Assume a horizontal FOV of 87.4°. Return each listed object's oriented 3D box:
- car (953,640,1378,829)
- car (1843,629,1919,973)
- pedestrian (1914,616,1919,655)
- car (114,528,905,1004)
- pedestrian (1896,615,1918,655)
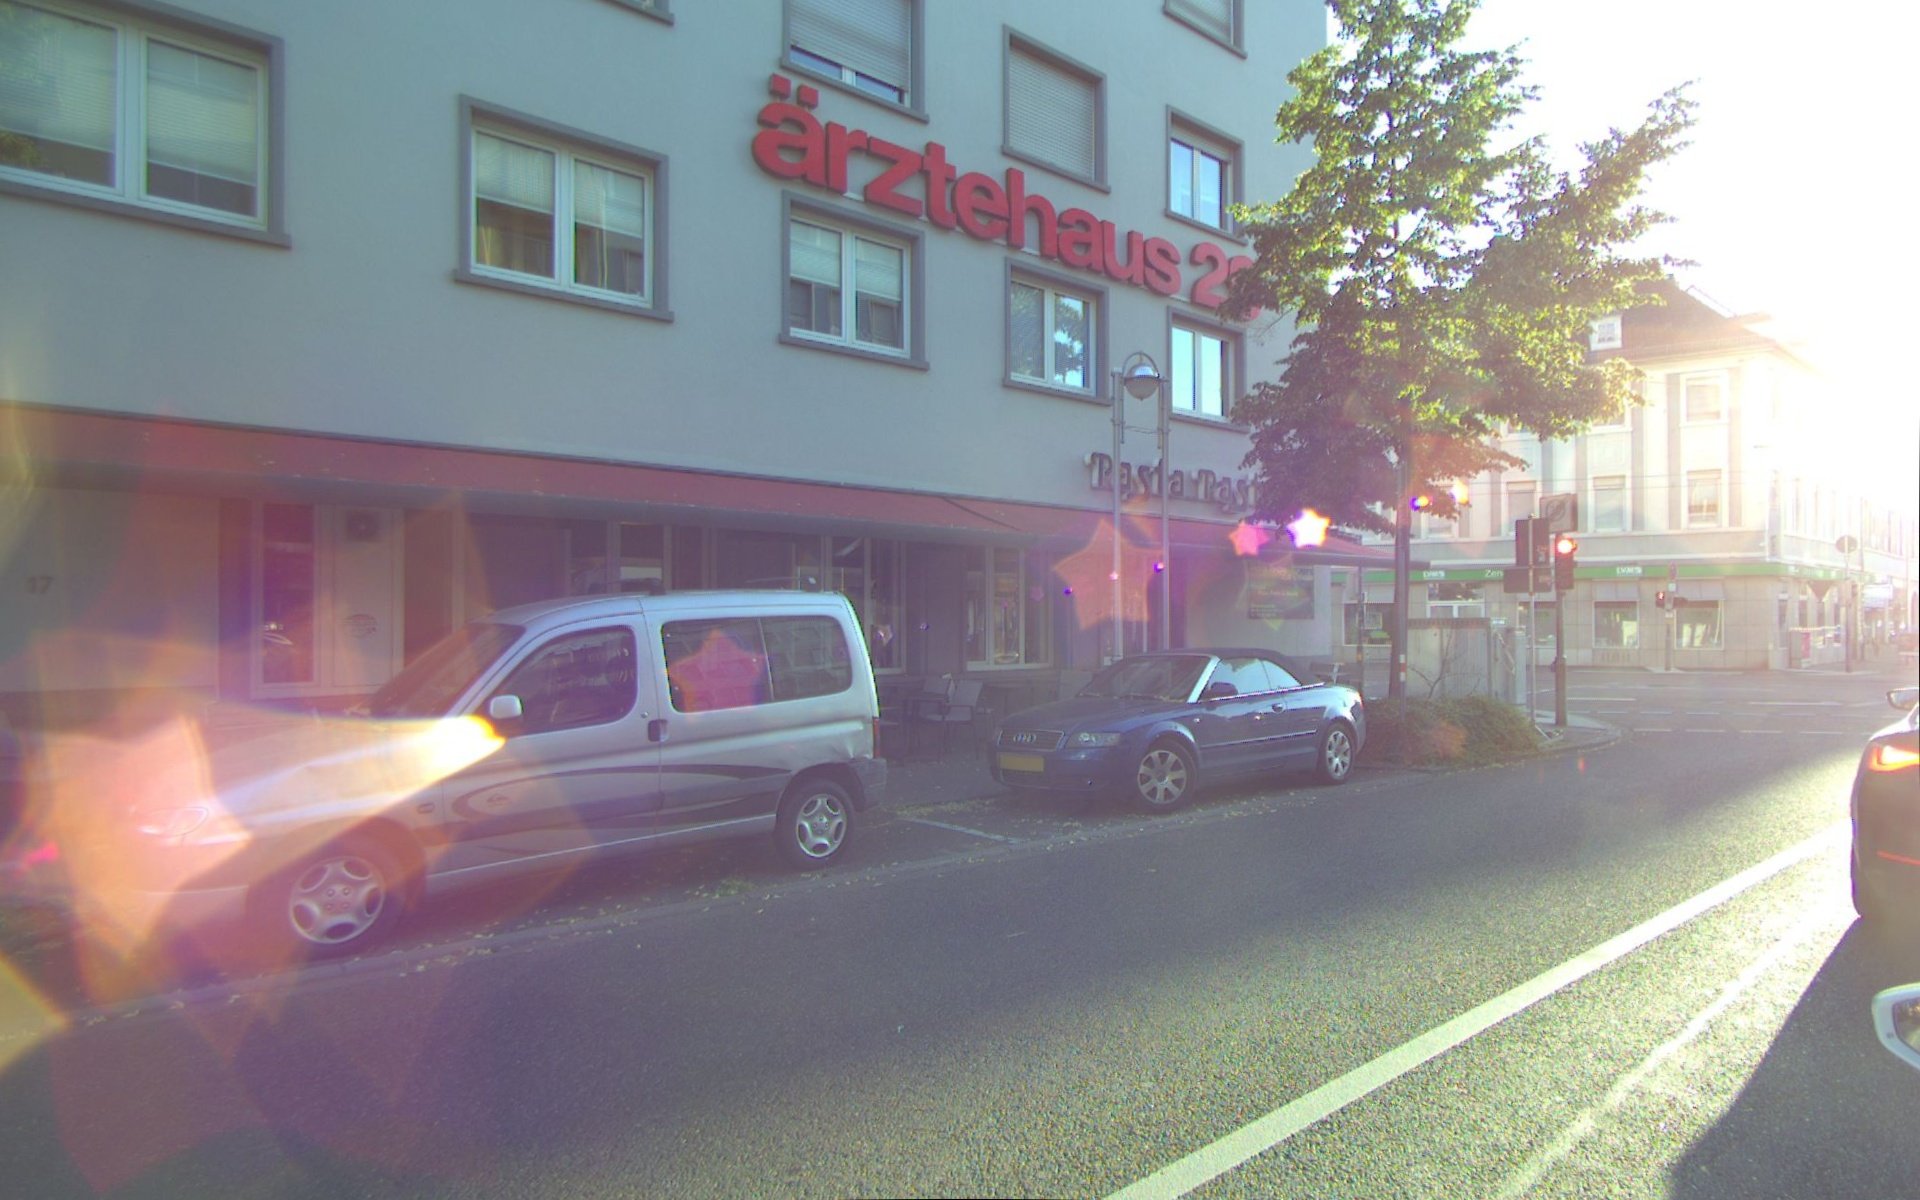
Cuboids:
[{"bbox_3d":[2.118,1.125,9.690,4.244,1.434,1.710,2,-4,-39],"label":"car"},{"bbox_3d":[6.060,0.894,5.102,4.188,1.447,1.723,1,-1,-39],"label":"car"},{"bbox_3d":[46.445,1.718,48.263,0.605,1.901,0.679,1,0,13],"label":"pedestrian"},{"bbox_3d":[-2.422,0.752,6.022,4.022,1.912,1.655,2,-4,-41],"label":"car"},{"bbox_3d":[45.639,1.700,48.407,0.626,1.901,0.638,1,0,-38],"label":"pedestrian"}]
